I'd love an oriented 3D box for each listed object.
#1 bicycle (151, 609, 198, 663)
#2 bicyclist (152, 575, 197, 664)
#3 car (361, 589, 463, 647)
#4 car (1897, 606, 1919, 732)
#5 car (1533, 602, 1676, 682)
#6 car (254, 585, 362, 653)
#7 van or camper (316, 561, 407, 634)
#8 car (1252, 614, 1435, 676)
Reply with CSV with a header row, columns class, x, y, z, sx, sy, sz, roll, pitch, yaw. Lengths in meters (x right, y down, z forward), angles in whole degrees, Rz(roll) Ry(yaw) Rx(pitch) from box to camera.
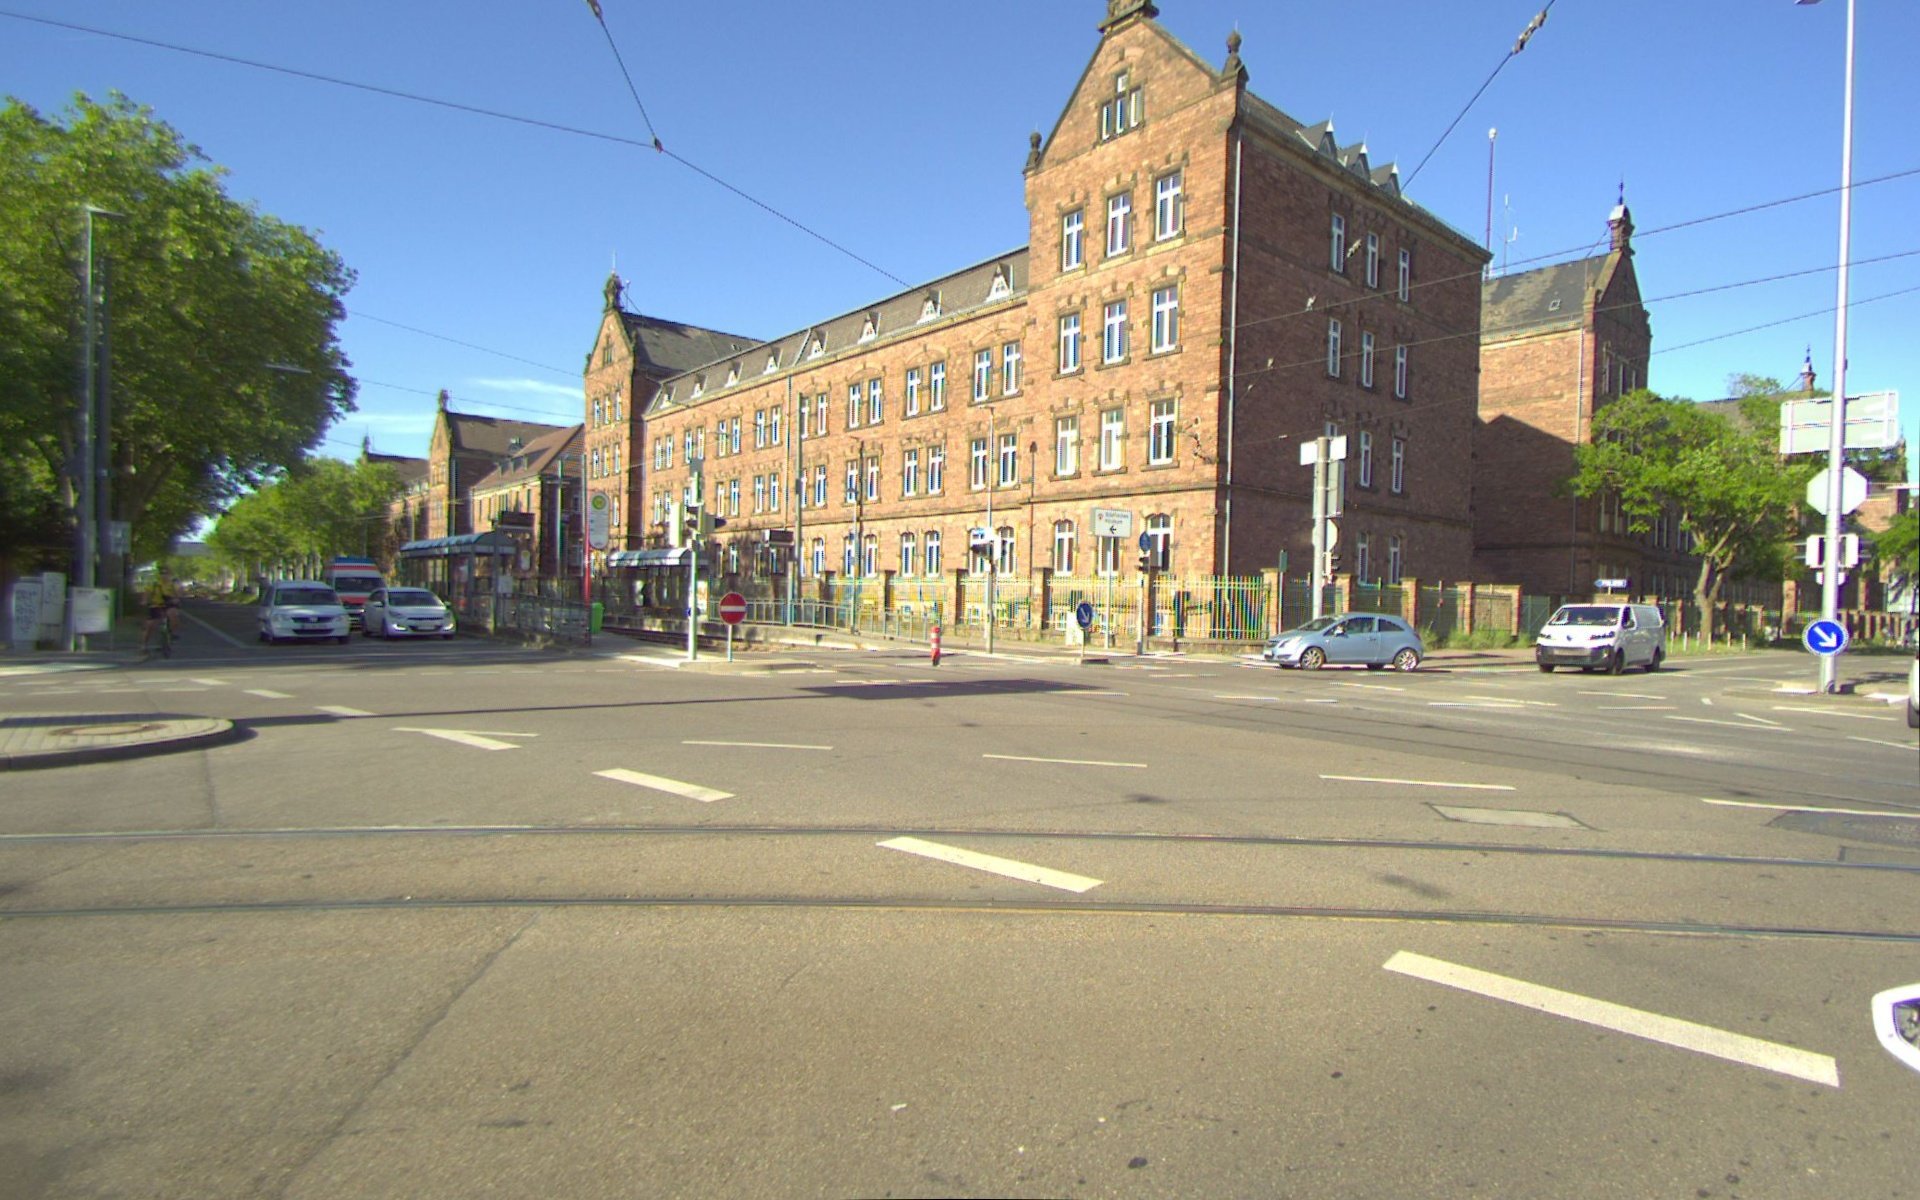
class,x,y,z,sx,sy,sz,roll,pitch,yaw
bicycle,-15.969,0.740,20.404,0.685,1.047,2.075,2,-3,-39
bicyclist,-15.855,0.401,20.272,0.665,1.752,0.615,2,-3,-40
car,-16.064,0.515,29.358,1.968,1.568,3.990,1,-1,-38
car,15.045,0.996,14.293,4.215,1.687,1.946,0,3,-40
car,17.742,1.102,27.542,5.266,1.954,2.137,2,-1,-44
car,-17.217,0.472,26.441,1.897,1.640,4.519,0,-1,-39
van or camper,-21.482,-0.010,35.926,1.983,2.392,5.535,1,-2,-39
car,9.762,1.126,25.702,4.039,1.462,1.740,1,0,-8
